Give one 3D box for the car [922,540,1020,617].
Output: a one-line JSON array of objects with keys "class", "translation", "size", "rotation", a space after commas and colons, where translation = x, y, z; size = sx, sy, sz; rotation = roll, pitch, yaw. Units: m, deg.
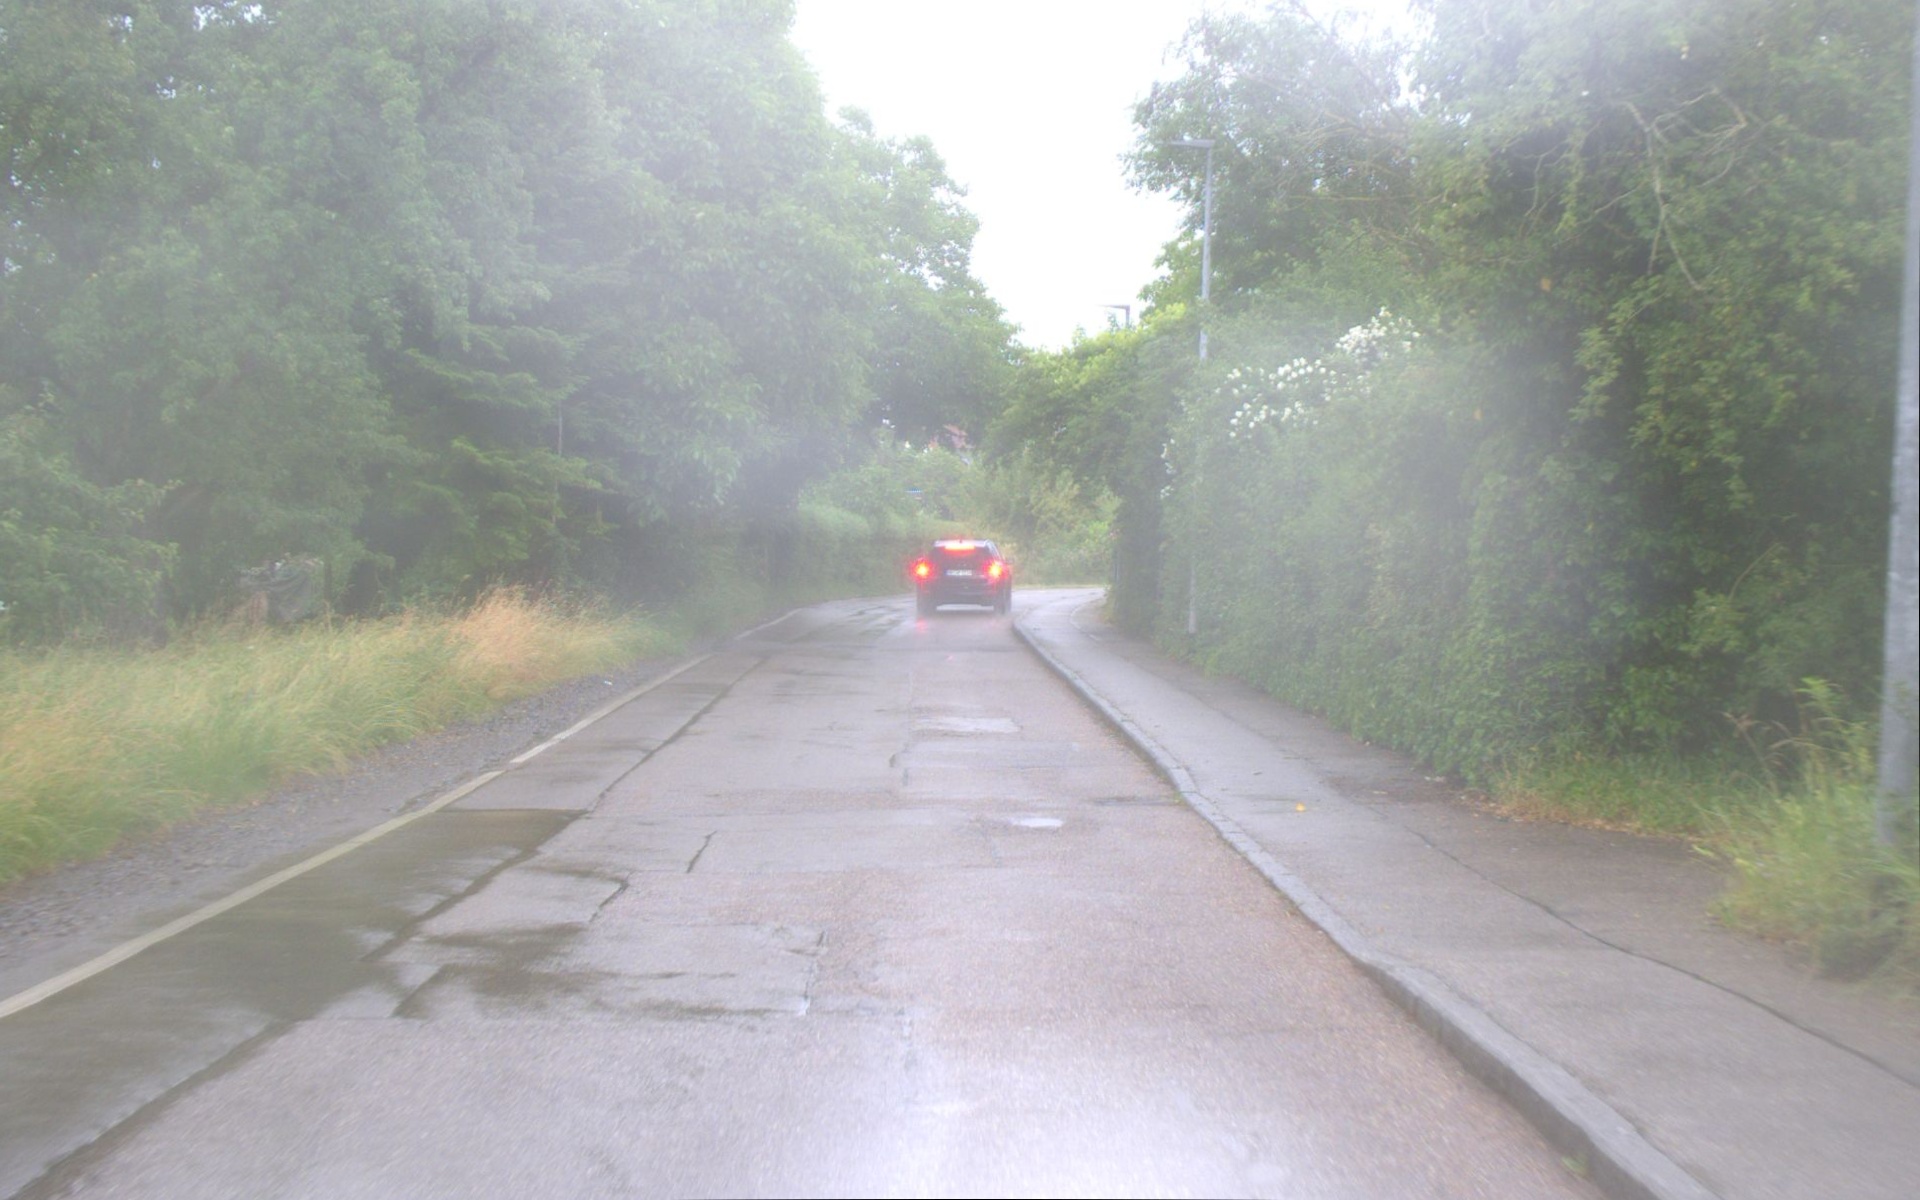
[{"class": "car", "translation": [0.246, -0.414, 68.961], "size": [1.635, 1.445, 3.544], "rotation": [1, 0, 5]}]
